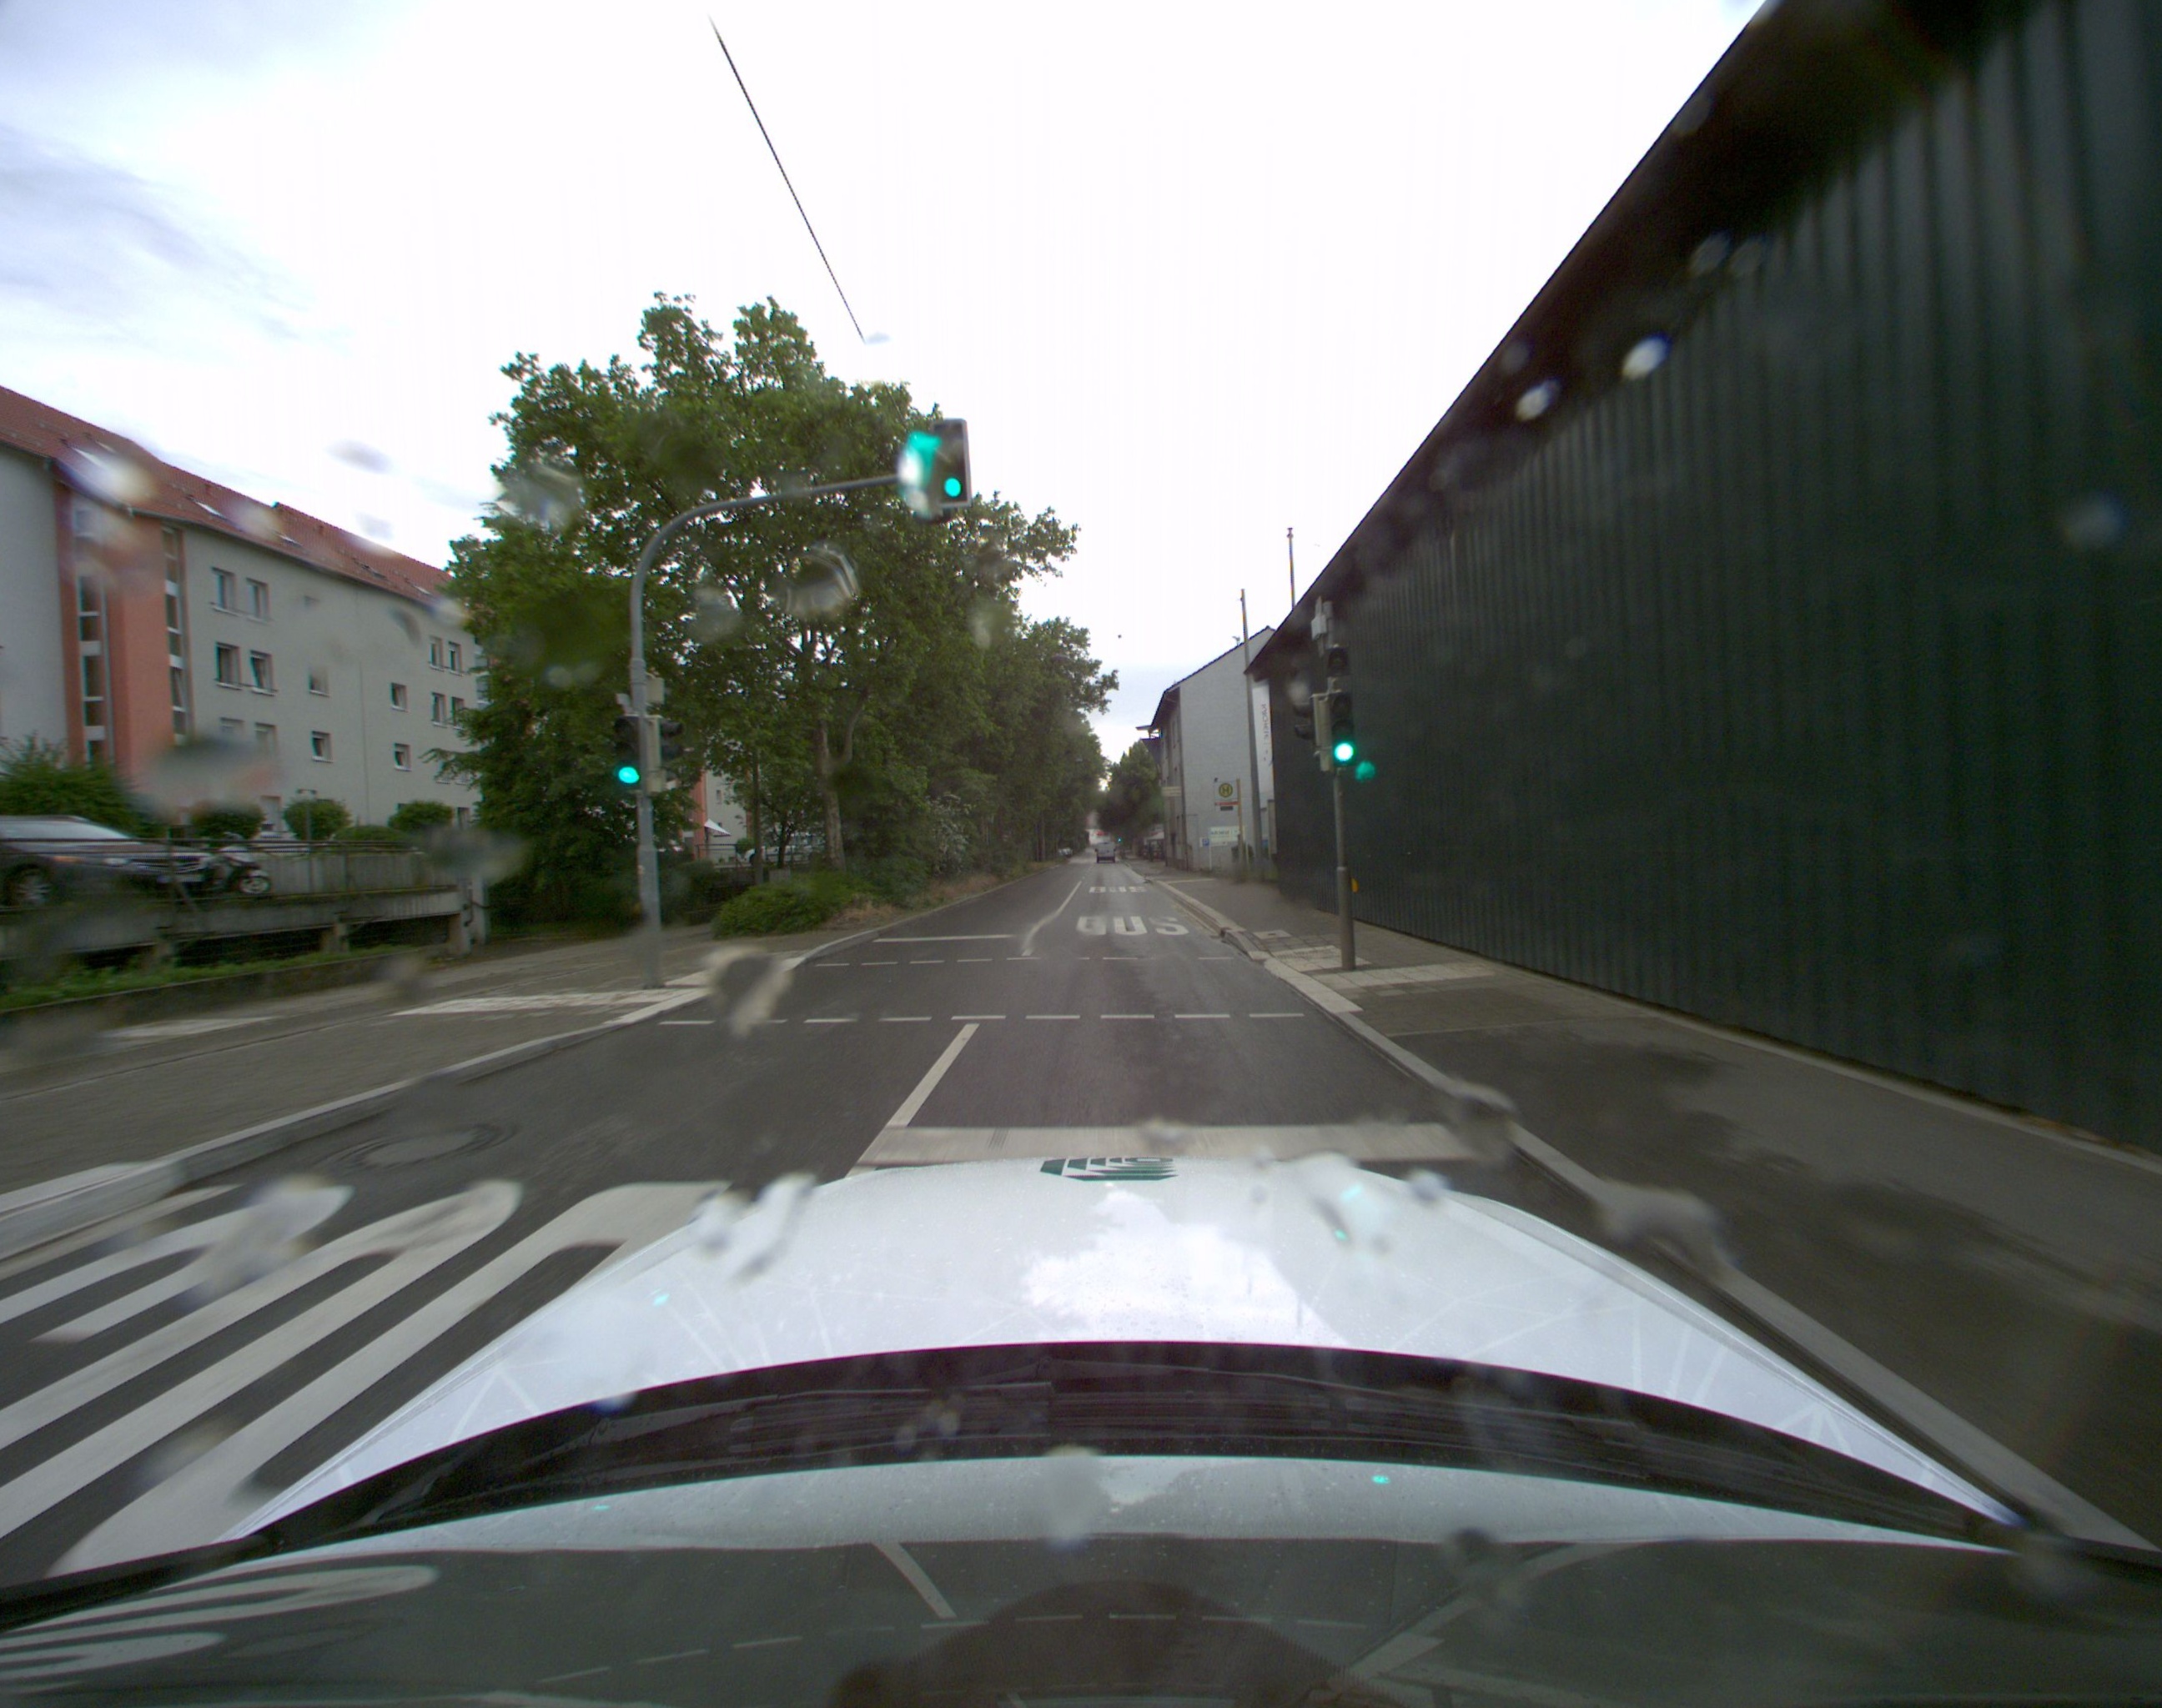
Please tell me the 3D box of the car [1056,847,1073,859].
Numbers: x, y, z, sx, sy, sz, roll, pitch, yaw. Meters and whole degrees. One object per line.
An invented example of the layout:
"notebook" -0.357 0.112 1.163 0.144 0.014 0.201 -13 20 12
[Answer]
"car" -2.431 -0.130 120.487 2.206 1.592 4.613 -1 -1 4

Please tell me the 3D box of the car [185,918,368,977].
"car" -22.882 2.636 23.249 3.587 1.394 1.543 -2 0 -1

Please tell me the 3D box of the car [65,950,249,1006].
"car" -27.241 3.642 24.084 3.587 1.394 1.543 -1 -2 -1

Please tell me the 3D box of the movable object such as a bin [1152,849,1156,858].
"movable object such as a bin" 8.180 -0.052 91.013 0.399 1.067 0.358 -2 -2 -5

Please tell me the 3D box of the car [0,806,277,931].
"car" -15.157 0.239 12.017 4.530 1.672 2.000 -1 -2 0

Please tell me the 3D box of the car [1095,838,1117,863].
"car" 2.727 -0.354 89.866 2.274 2.553 4.001 -2 -2 2

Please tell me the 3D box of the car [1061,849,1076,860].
"car" -2.115 0.069 139.523 2.206 1.691 4.613 -1 -1 4

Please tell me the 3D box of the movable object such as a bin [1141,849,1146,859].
"movable object such as a bin" 7.005 0.037 90.884 0.399 1.066 0.358 -6 -1 -5

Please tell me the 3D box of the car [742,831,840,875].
"car" -14.301 -0.045 40.323 4.156 2.013 1.718 -2 0 -1

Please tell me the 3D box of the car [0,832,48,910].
"car" -23.904 0.375 16.447 3.798 1.602 1.718 -1 -2 -1

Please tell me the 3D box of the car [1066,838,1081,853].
"car" -1.367 -1.454 145.107 2.206 2.534 4.614 -1 -1 4

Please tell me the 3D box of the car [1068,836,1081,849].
"car" -1.221 -2.195 156.627 2.206 2.294 4.614 -1 -1 4

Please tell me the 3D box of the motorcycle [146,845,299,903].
"motorcycle" -14.230 0.332 13.524 1.944 0.913 0.569 -1 -2 1

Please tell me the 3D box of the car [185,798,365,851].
"car" -23.255 -0.828 23.583 3.587 1.394 1.543 -1 -2 -1

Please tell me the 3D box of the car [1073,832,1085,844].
"car" -0.426 -3.295 166.349 2.206 2.294 4.614 -1 -1 4
